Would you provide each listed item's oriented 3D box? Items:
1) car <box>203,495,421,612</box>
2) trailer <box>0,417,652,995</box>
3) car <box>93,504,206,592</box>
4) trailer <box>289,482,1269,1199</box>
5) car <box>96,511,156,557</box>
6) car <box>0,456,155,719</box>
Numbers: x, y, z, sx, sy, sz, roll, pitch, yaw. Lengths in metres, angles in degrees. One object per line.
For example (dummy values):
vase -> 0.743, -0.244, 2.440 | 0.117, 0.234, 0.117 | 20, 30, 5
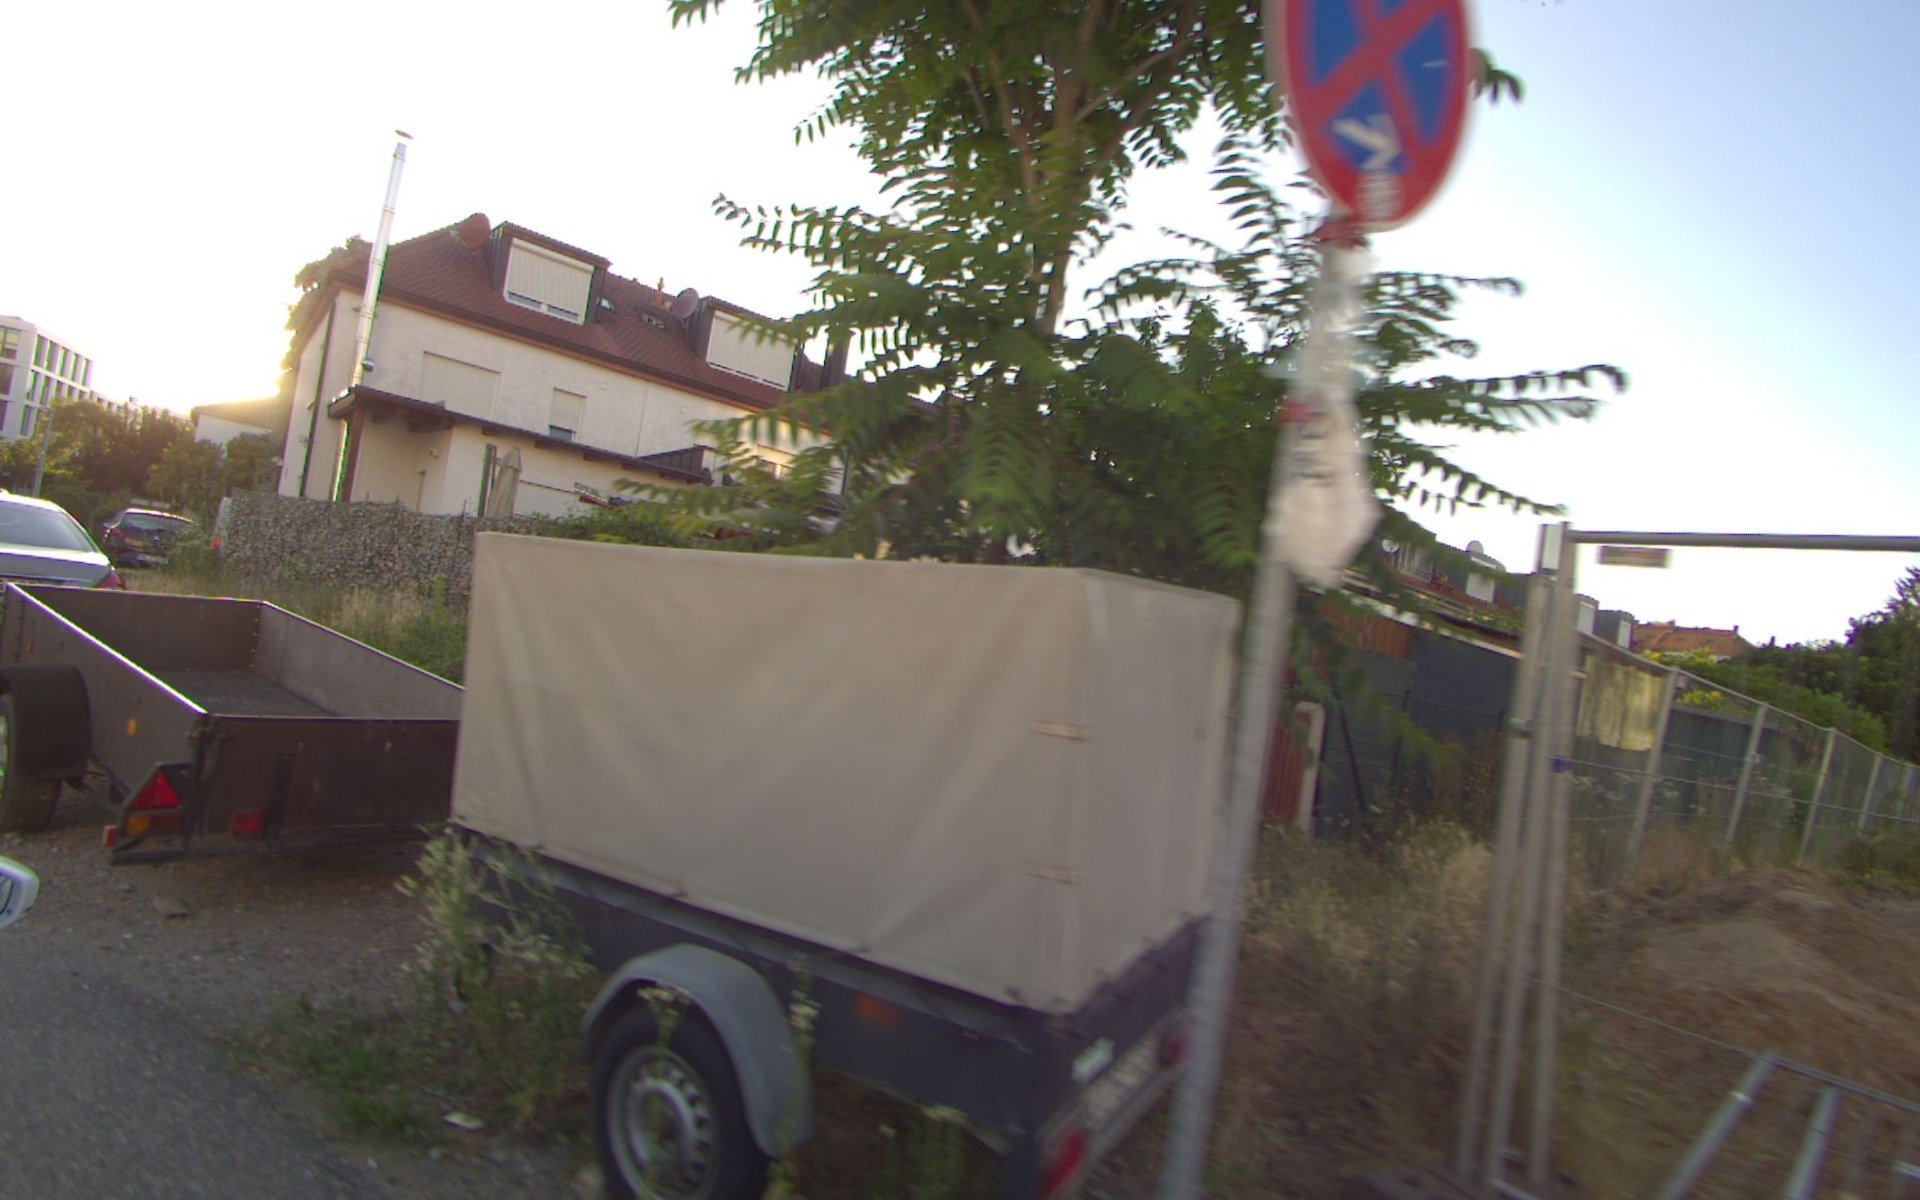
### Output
car -> -20.969, -1.468, 32.760 | 5.540, 2.723, 2.032 | 11, -1, -37
trailer -> -3.918, 0.185, 5.268 | 4.862, 1.799, 1.731 | 7, -1, 37
car -> -17.625, -1.086, 21.896 | 1.630, 1.535, 3.862 | 9, -4, -39
trailer -> -0.663, 0.638, 3.188 | 2.756, 1.685, 1.252 | 7, 0, 31
car -> -32.689, -2.600, 39.493 | 1.522, 1.461, 3.602 | 9, -2, -38
car -> -8.372, -0.313, 8.027 | 4.853, 1.745, 1.806 | 7, -1, 37
